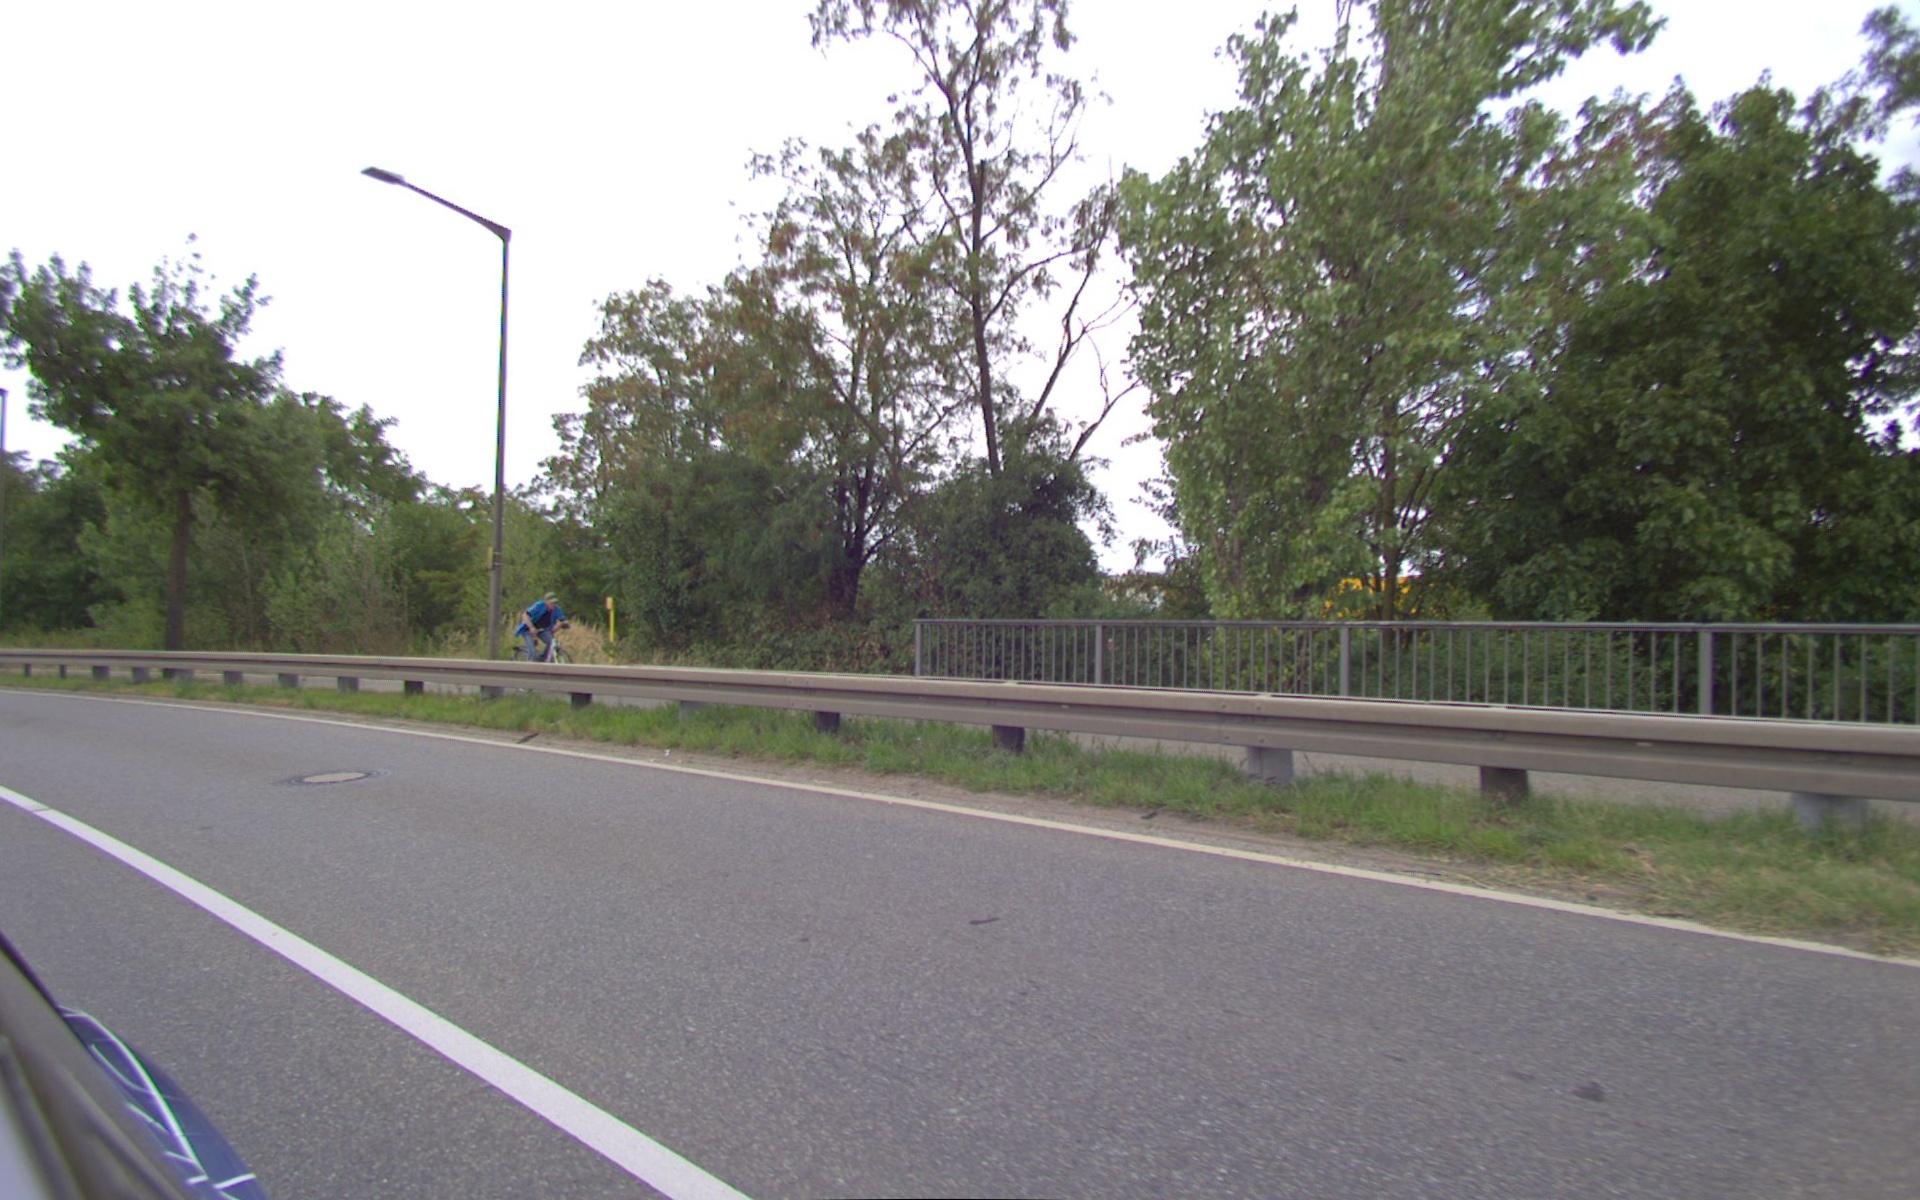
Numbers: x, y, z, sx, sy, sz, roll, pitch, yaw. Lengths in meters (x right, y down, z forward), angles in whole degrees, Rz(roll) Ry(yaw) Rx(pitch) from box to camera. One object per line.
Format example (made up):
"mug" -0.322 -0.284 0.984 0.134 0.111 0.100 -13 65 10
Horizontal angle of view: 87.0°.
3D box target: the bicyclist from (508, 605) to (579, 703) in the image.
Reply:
"bicyclist" -6.468 0.821 15.740 0.746 1.455 0.704 -2 0 35

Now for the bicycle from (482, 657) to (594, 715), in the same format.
"bicycle" -6.576 1.316 15.734 1.888 0.804 0.686 -2 0 35
